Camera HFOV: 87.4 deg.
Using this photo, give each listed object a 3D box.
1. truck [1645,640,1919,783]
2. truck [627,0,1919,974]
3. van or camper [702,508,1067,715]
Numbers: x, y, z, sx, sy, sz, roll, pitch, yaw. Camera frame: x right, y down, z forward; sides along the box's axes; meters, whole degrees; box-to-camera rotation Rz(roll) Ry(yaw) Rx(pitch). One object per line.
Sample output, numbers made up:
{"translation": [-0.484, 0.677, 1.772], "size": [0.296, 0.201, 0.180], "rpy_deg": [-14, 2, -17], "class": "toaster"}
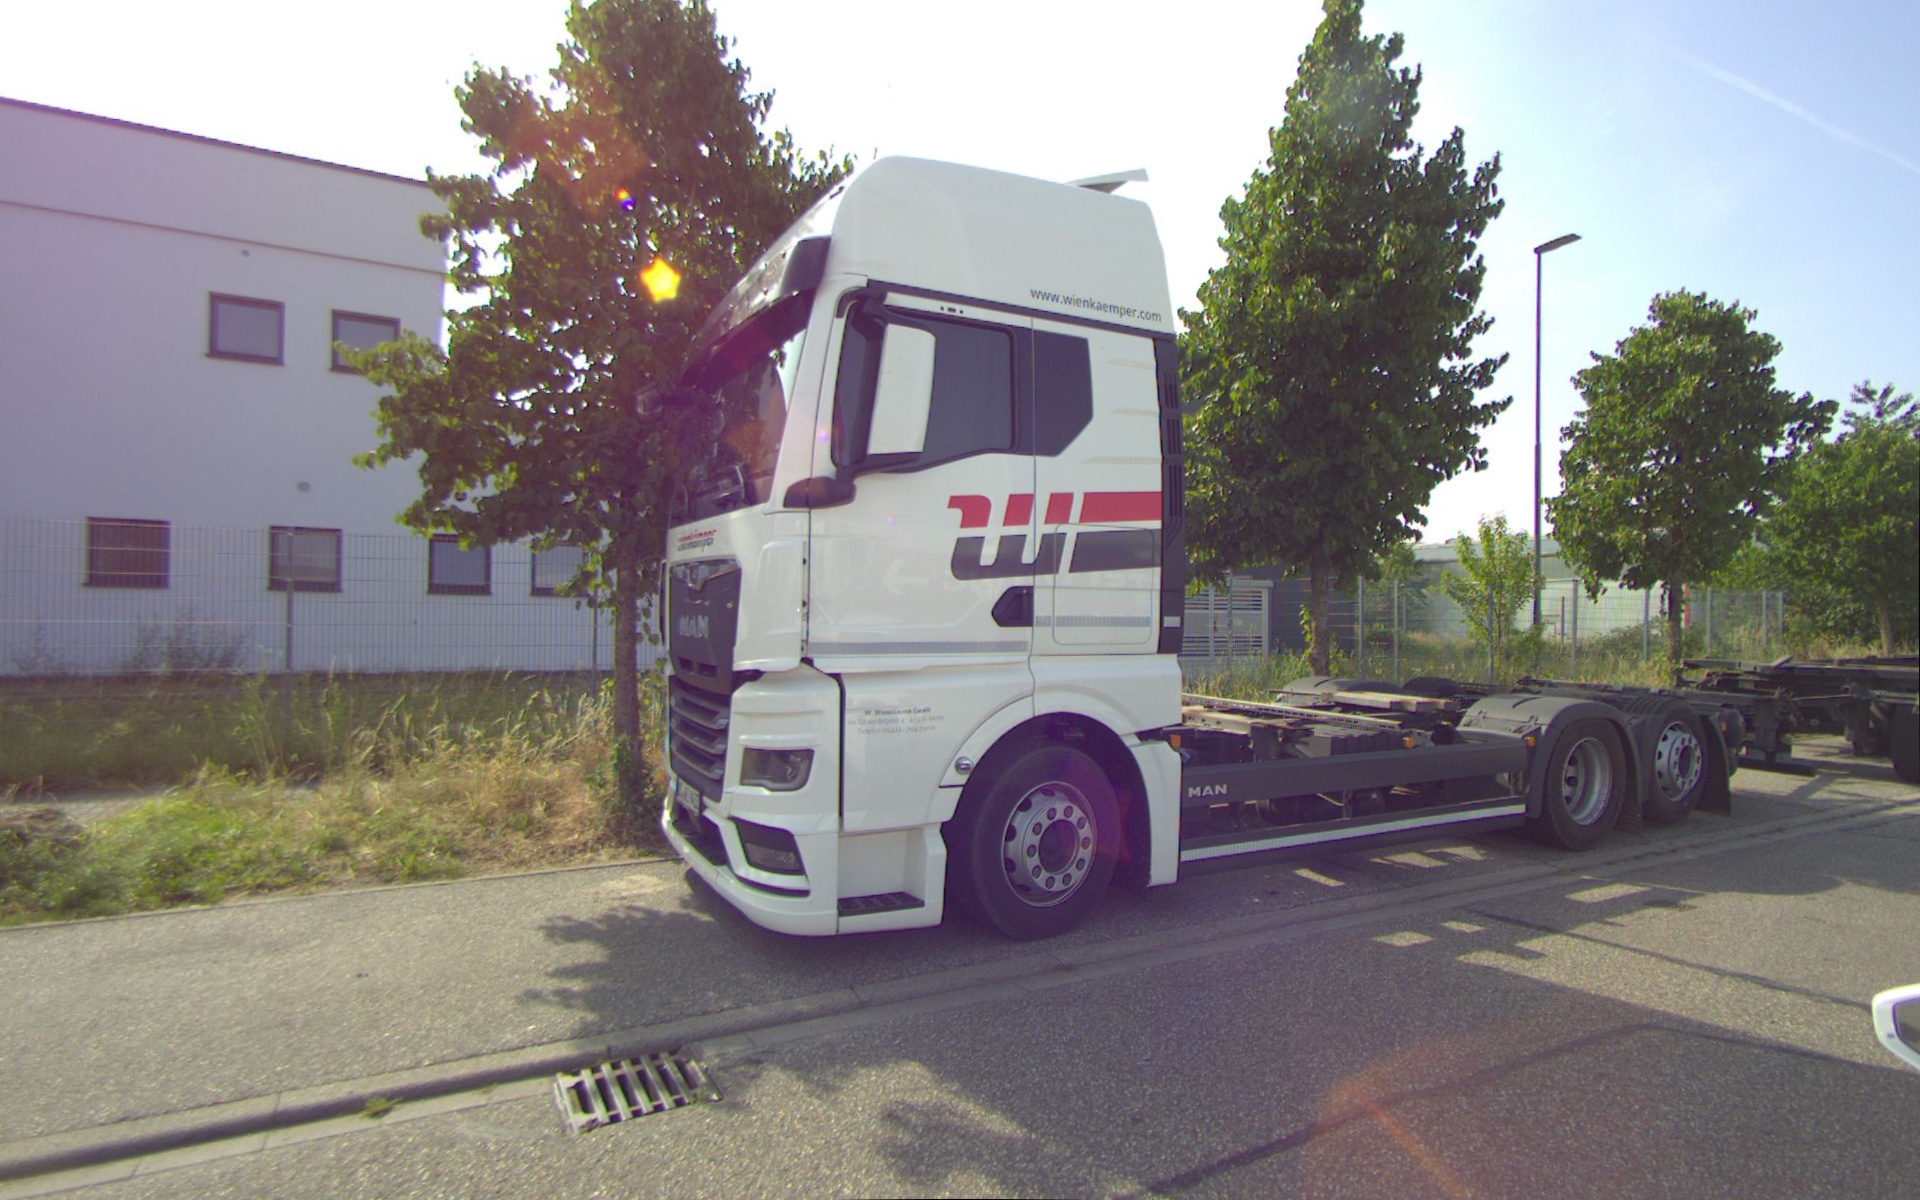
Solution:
{"translation": [11.331, 1.160, 12.127], "size": [6.448, 1.282, 2.513], "rpy_deg": [1, -1, -30], "class": "truck"}
{"translation": [4.153, -0.340, 8.184], "size": [12.755, 3.981, 2.616], "rpy_deg": [1, -1, -28], "class": "truck"}
{"translation": [-1.060, 0.216, 14.896], "size": [4.898, 2.594, 2.293], "rpy_deg": [2, -1, -32], "class": "van or camper"}
